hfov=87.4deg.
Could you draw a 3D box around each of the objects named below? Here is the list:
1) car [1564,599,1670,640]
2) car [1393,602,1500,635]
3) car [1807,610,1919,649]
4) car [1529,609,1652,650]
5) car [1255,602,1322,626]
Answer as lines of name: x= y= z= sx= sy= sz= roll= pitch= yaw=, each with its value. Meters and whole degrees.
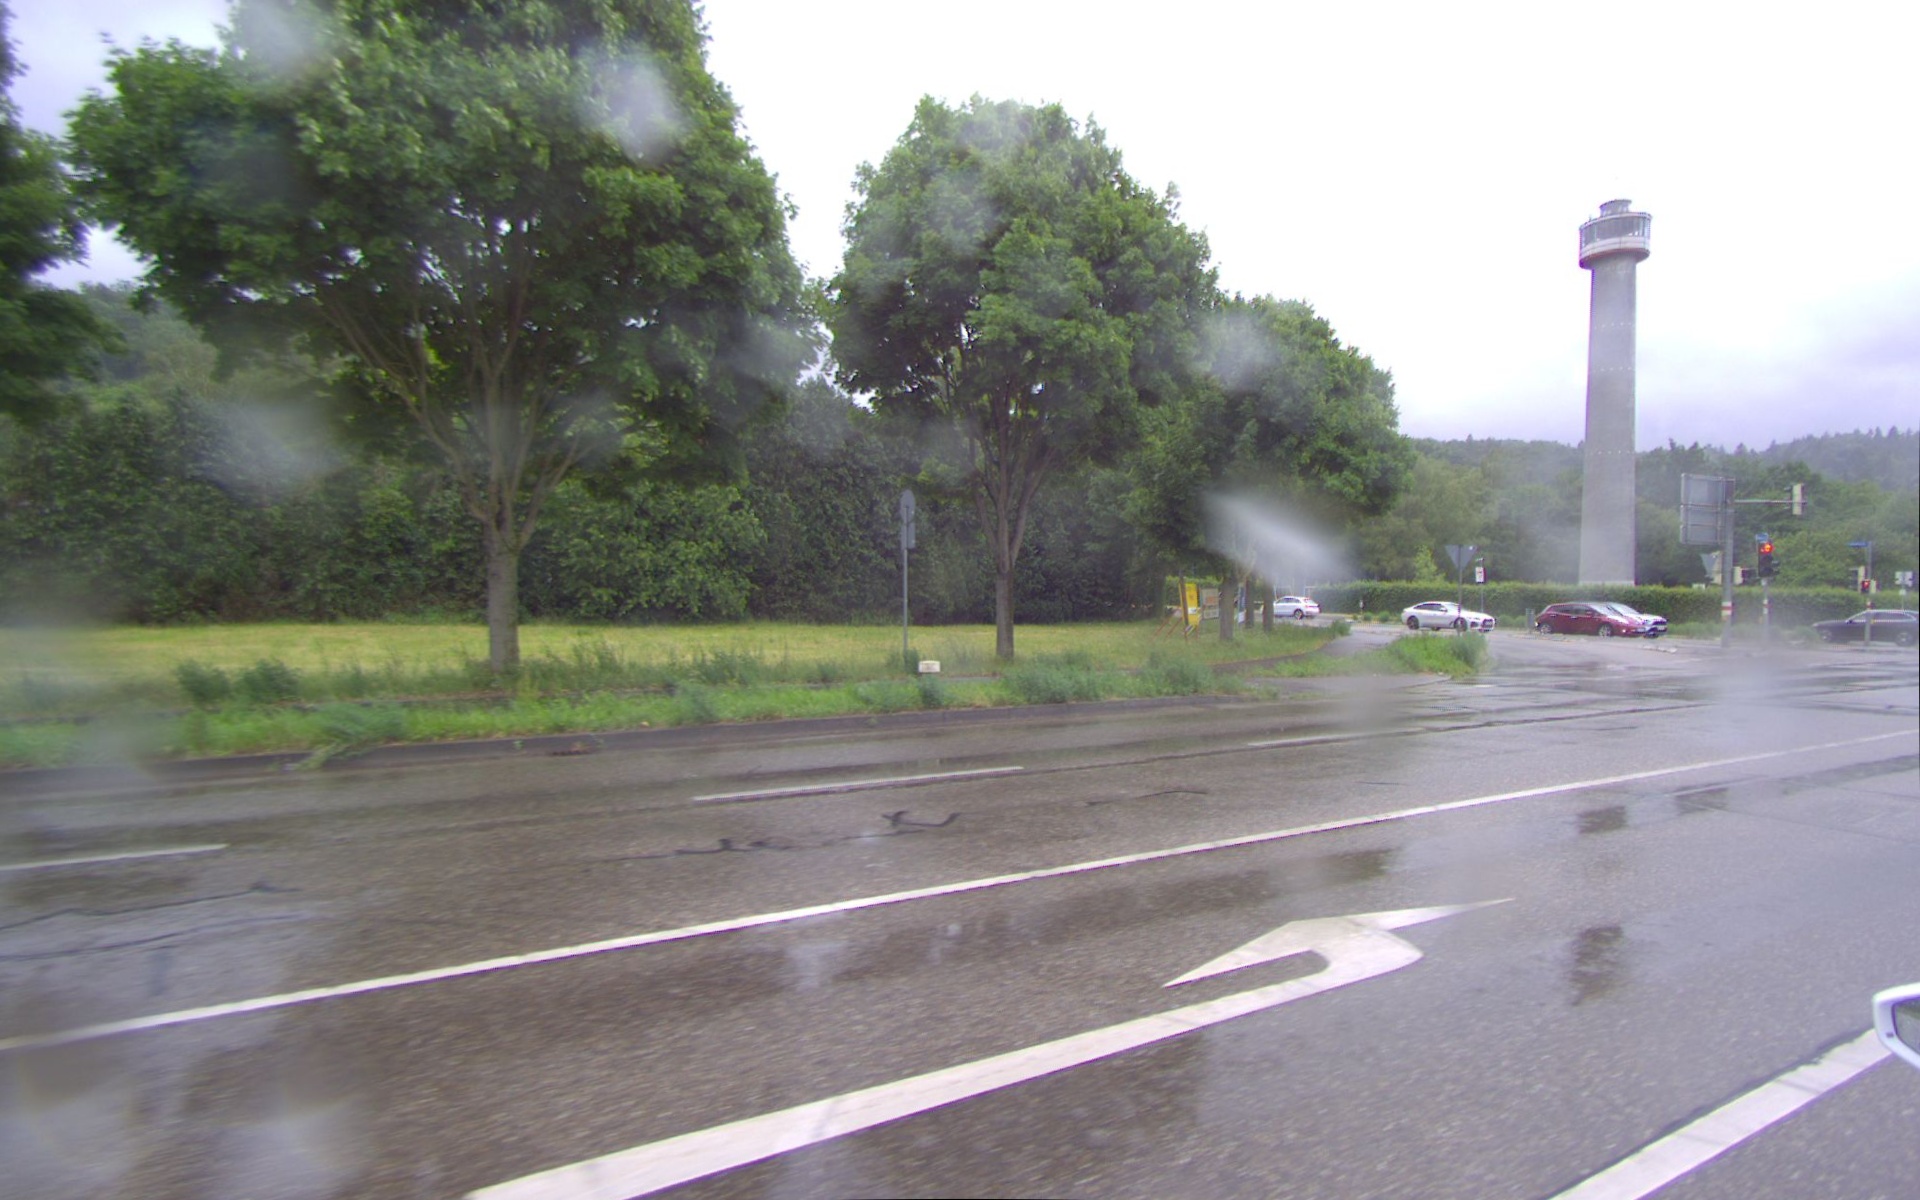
car: x=30.190 y=0.866 z=46.265 sx=1.721 sy=1.734 sz=3.793 roll=1 pitch=1 yaw=-22
car: x=24.405 y=0.897 z=50.563 sx=1.774 sy=1.574 sz=4.869 roll=0 pitch=0 yaw=-24
car: x=42.176 y=1.323 z=46.155 sx=1.803 sy=1.661 sz=4.643 roll=0 pitch=0 yaw=-32
car: x=27.481 y=1.248 z=43.911 sx=1.708 sy=1.601 sz=4.365 roll=0 pitch=1 yaw=-23
car: x=24.018 y=0.972 z=73.515 sx=1.720 sy=1.601 sz=4.333 roll=0 pitch=1 yaw=-43
